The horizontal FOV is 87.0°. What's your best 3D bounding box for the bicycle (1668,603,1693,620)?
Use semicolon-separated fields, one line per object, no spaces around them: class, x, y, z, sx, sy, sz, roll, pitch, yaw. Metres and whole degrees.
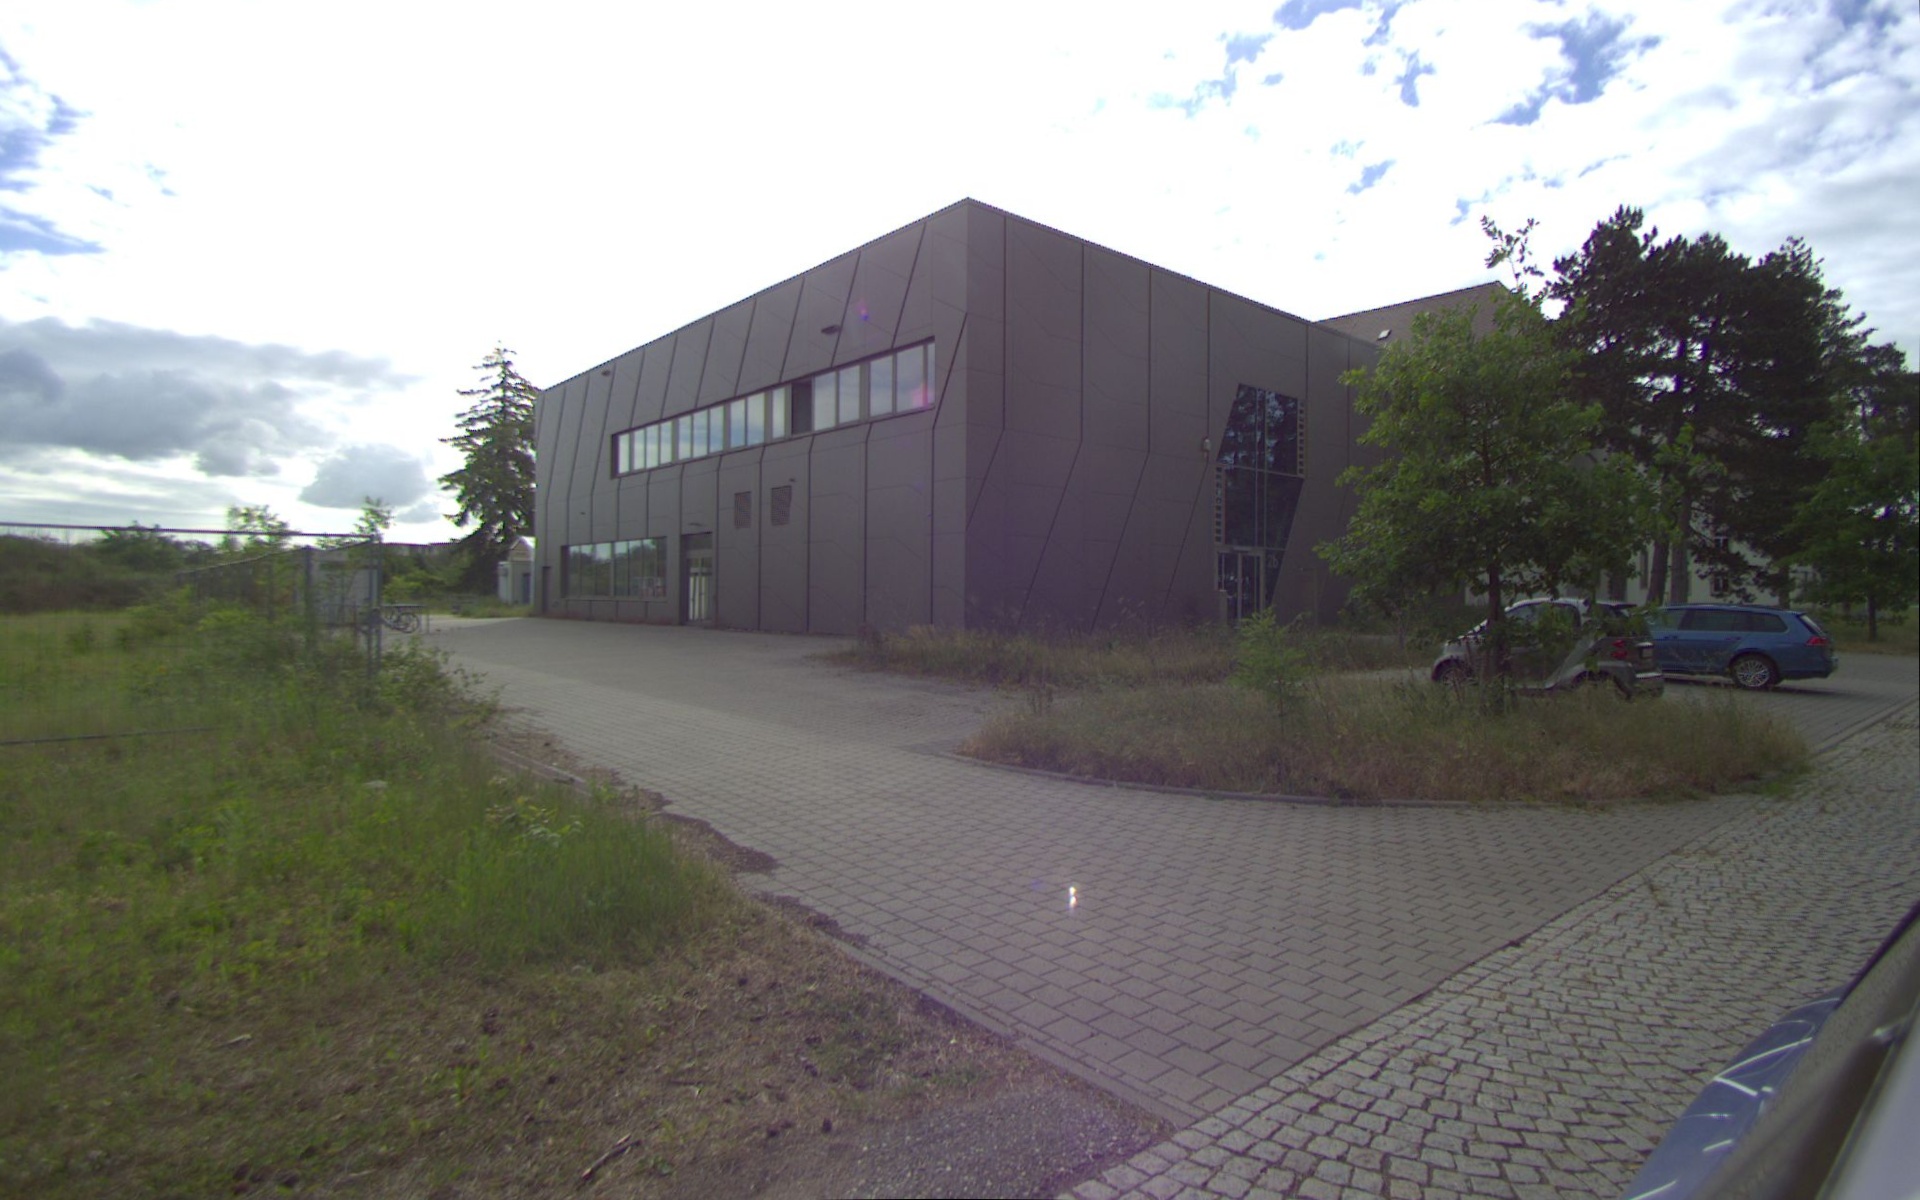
bicycle;48.528;0.769;68.159;2.159;1.070;0.800;0;0;-38

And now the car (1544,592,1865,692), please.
car;13.777;0.678;18.947;1.899;1.468;4.532;0;2;-42

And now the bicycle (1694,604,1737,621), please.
bicycle;49.105;0.785;65.817;0.705;1.070;2.160;0;0;-44

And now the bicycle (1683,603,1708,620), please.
bicycle;49.065;0.772;67.501;2.126;1.070;0.800;0;0;-38

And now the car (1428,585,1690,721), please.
car;8.339;0.654;14.210;1.653;1.601;2.747;1;2;-40

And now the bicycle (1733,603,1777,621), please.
bicycle;50.404;0.767;64.188;0.705;1.109;2.160;0;0;-44

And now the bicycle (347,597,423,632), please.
bicycle;-17.775;0.431;31.317;1.953;1.038;0.836;-1;0;-39

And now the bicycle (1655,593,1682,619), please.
bicycle;48.282;0.423;68.957;2.159;1.754;0.905;0;0;-38

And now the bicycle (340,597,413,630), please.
bicycle;-19.029;0.429;33.029;1.953;1.038;0.836;-1;0;-39
